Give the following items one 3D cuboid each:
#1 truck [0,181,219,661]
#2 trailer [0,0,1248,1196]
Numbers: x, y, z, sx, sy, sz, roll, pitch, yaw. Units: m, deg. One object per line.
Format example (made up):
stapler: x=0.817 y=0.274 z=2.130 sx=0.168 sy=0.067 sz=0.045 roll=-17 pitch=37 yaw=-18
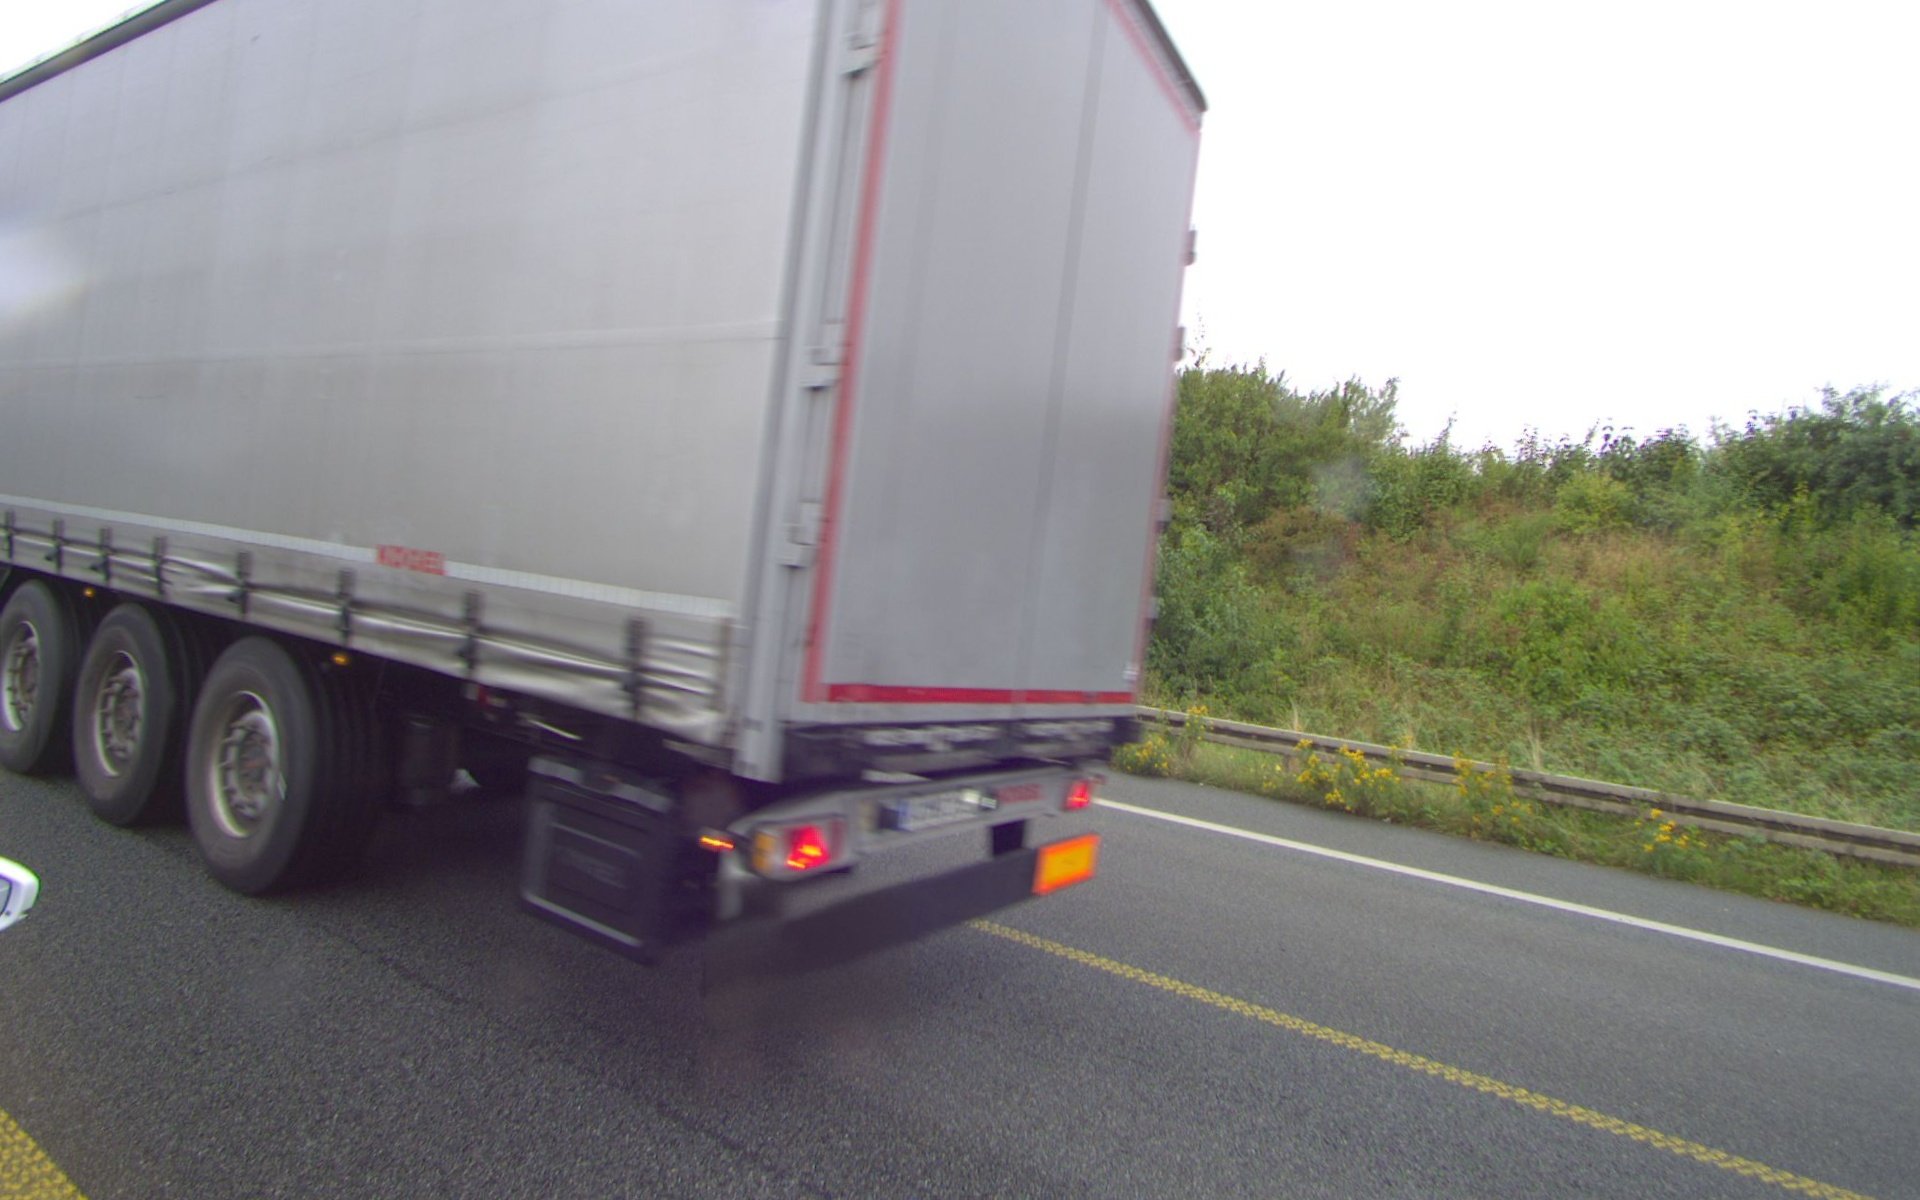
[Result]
truck: x=-10.890 y=-1.853 z=10.619 sx=5.596 sy=4.188 sz=2.710 roll=7 pitch=0 yaw=32
trailer: x=-5.297 y=-1.218 z=7.114 sx=13.504 sy=4.196 sz=2.710 roll=7 pitch=0 yaw=32
